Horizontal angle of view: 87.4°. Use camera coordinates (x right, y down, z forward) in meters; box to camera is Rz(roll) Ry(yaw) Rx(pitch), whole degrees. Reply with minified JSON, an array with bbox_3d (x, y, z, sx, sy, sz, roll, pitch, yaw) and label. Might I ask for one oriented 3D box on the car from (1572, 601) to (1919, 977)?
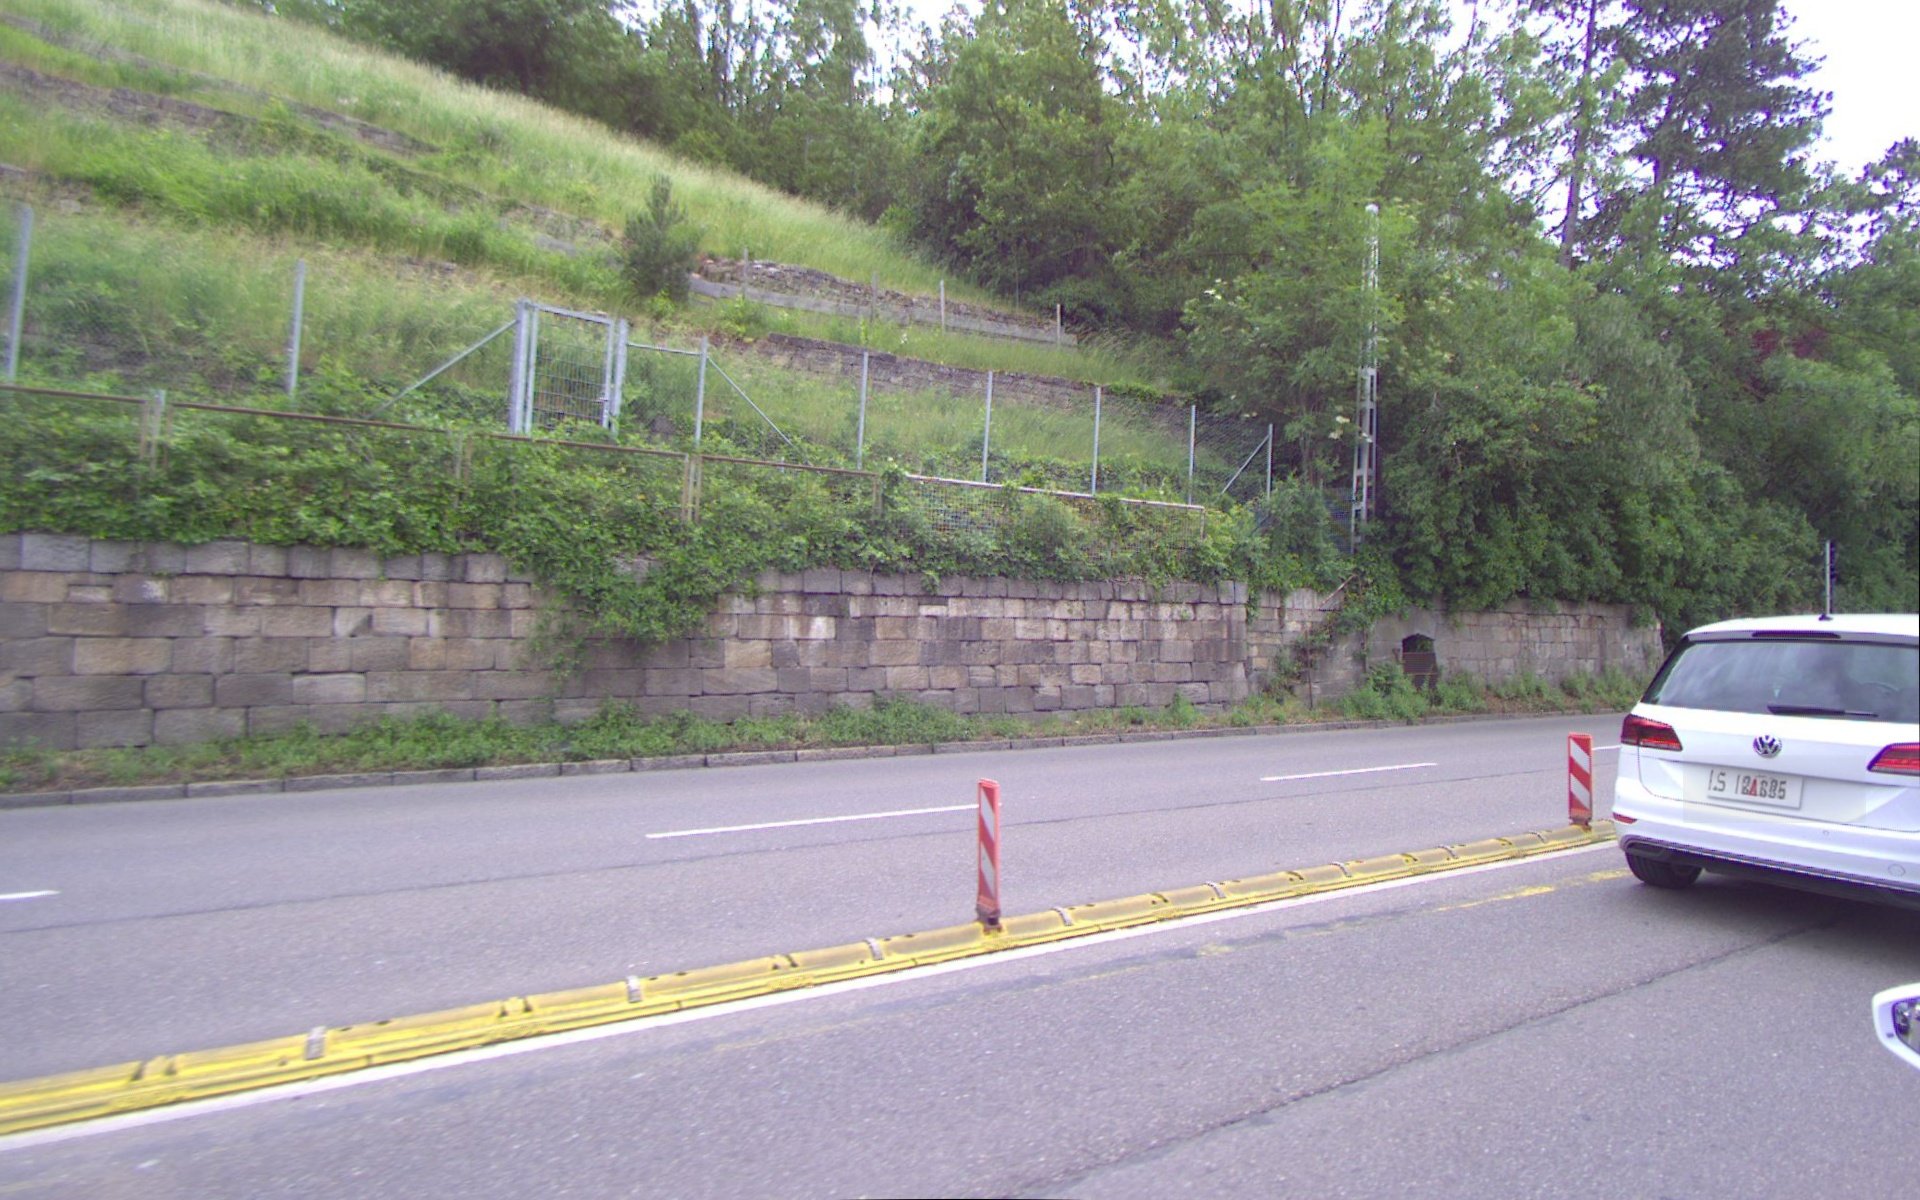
[{"bbox_3d":[5.571,0.846,5.805,4.226,1.575,1.712,1,-1,-31],"label":"car"}]
